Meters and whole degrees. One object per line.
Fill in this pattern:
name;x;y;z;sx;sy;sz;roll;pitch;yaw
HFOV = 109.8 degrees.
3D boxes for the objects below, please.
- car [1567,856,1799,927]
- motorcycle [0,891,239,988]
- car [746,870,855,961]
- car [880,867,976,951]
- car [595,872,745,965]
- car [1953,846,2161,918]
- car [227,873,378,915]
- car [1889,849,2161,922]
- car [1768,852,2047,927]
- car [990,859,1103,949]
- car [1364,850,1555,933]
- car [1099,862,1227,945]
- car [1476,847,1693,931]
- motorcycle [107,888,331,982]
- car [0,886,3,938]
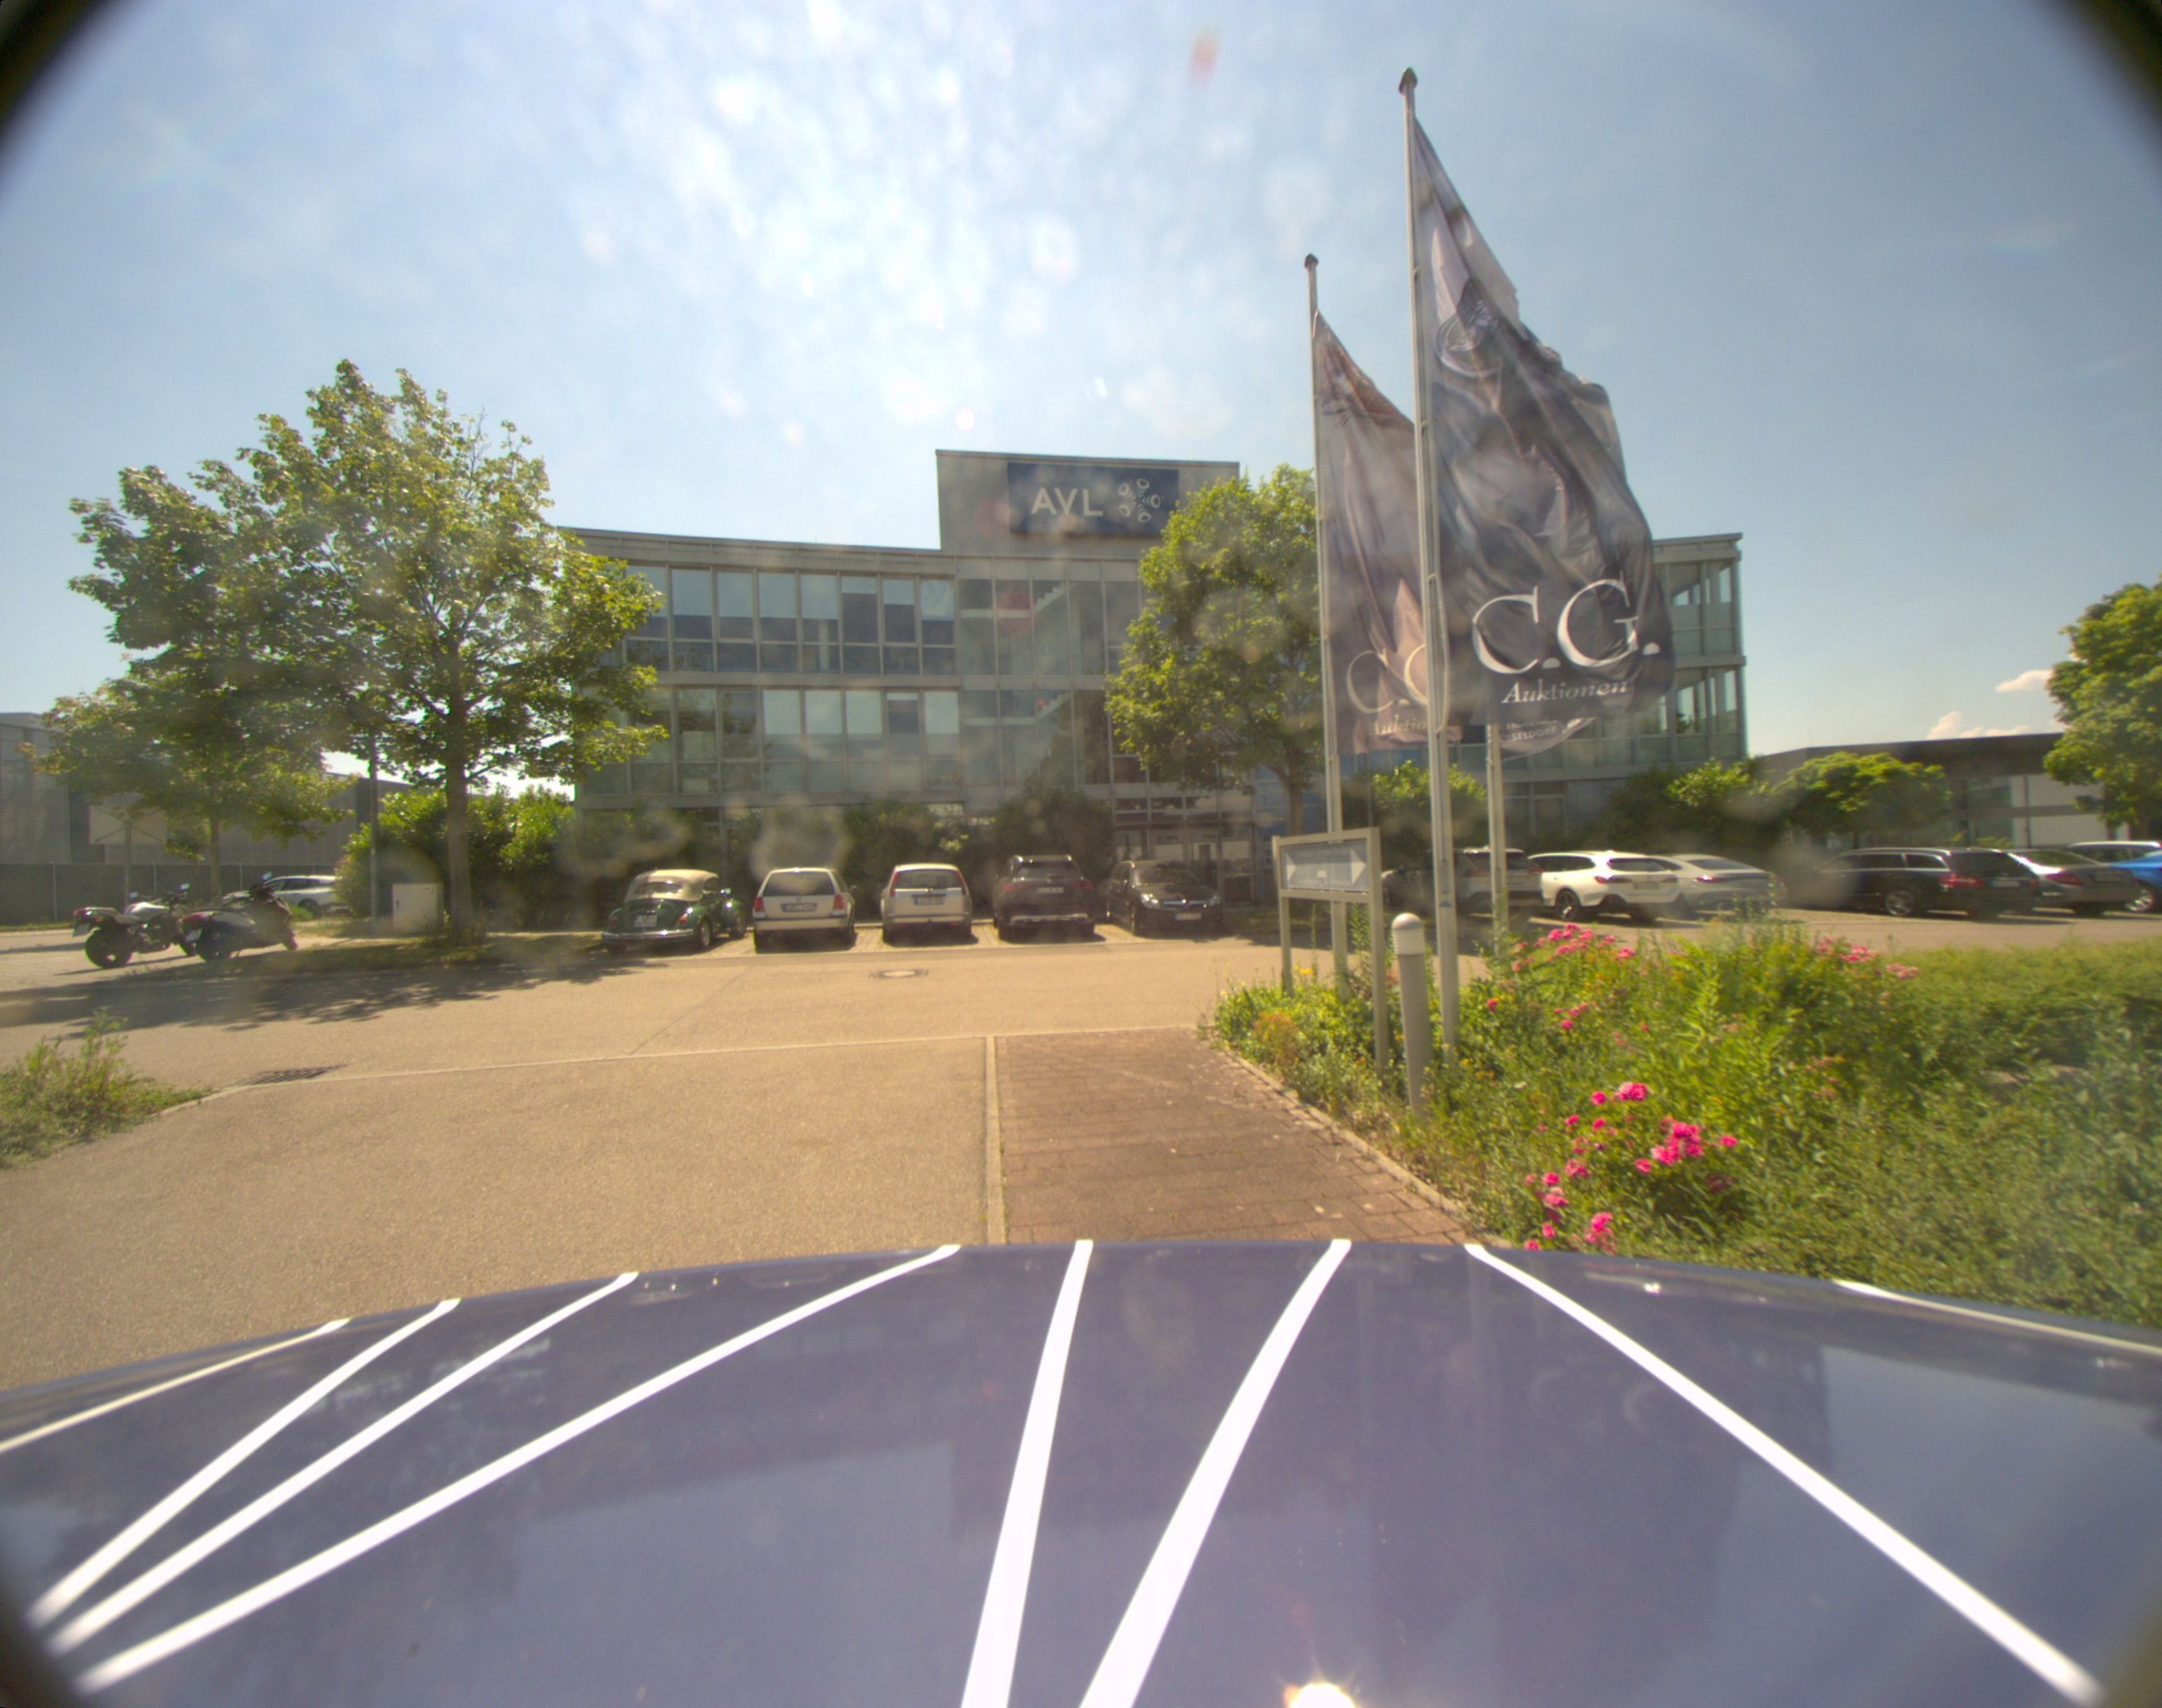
car;13.486;0.767;17.400;1.752;1.392;4.169;-1;0;-6
motorcycle;-15.666;1.313;12.464;0.874;1.252;2.833;-1;1;-9
car;-5.351;1.088;14.882;1.644;1.443;3.595;0;0;-15
car;-3.276;1.043;15.816;1.733;1.443;3.595;-1;0;-15
car;-7.591;1.104;14.370;1.523;1.437;3.415;-1;0;-11
car;23.312;0.559;17.504;1.751;1.416;4.171;-1;1;2
car;-29.987;1.531;29.314;4.408;1.467;1.782;-1;0;8
car;21.064;0.626;17.207;1.749;1.416;4.175;-1;1;13
car;18.180;0.692;17.064;1.751;1.416;4.171;-1;1;0
car;-0.854;0.927;16.019;1.940;1.593;3.856;-1;0;-9
car;8.392;0.749;17.328;1.833;1.628;4.168;-1;0;-8
car;1.603;0.943;16.509;1.731;1.475;4.394;-2;0;-8
car;11.090;0.698;17.168;1.833;1.628;4.169;-1;0;-6
motorcycle;-14.380;1.276;12.866;0.874;1.252;2.833;-1;1;-9
car;-31.134;1.613;19.569;4.441;1.401;1.860;-2;0;5
